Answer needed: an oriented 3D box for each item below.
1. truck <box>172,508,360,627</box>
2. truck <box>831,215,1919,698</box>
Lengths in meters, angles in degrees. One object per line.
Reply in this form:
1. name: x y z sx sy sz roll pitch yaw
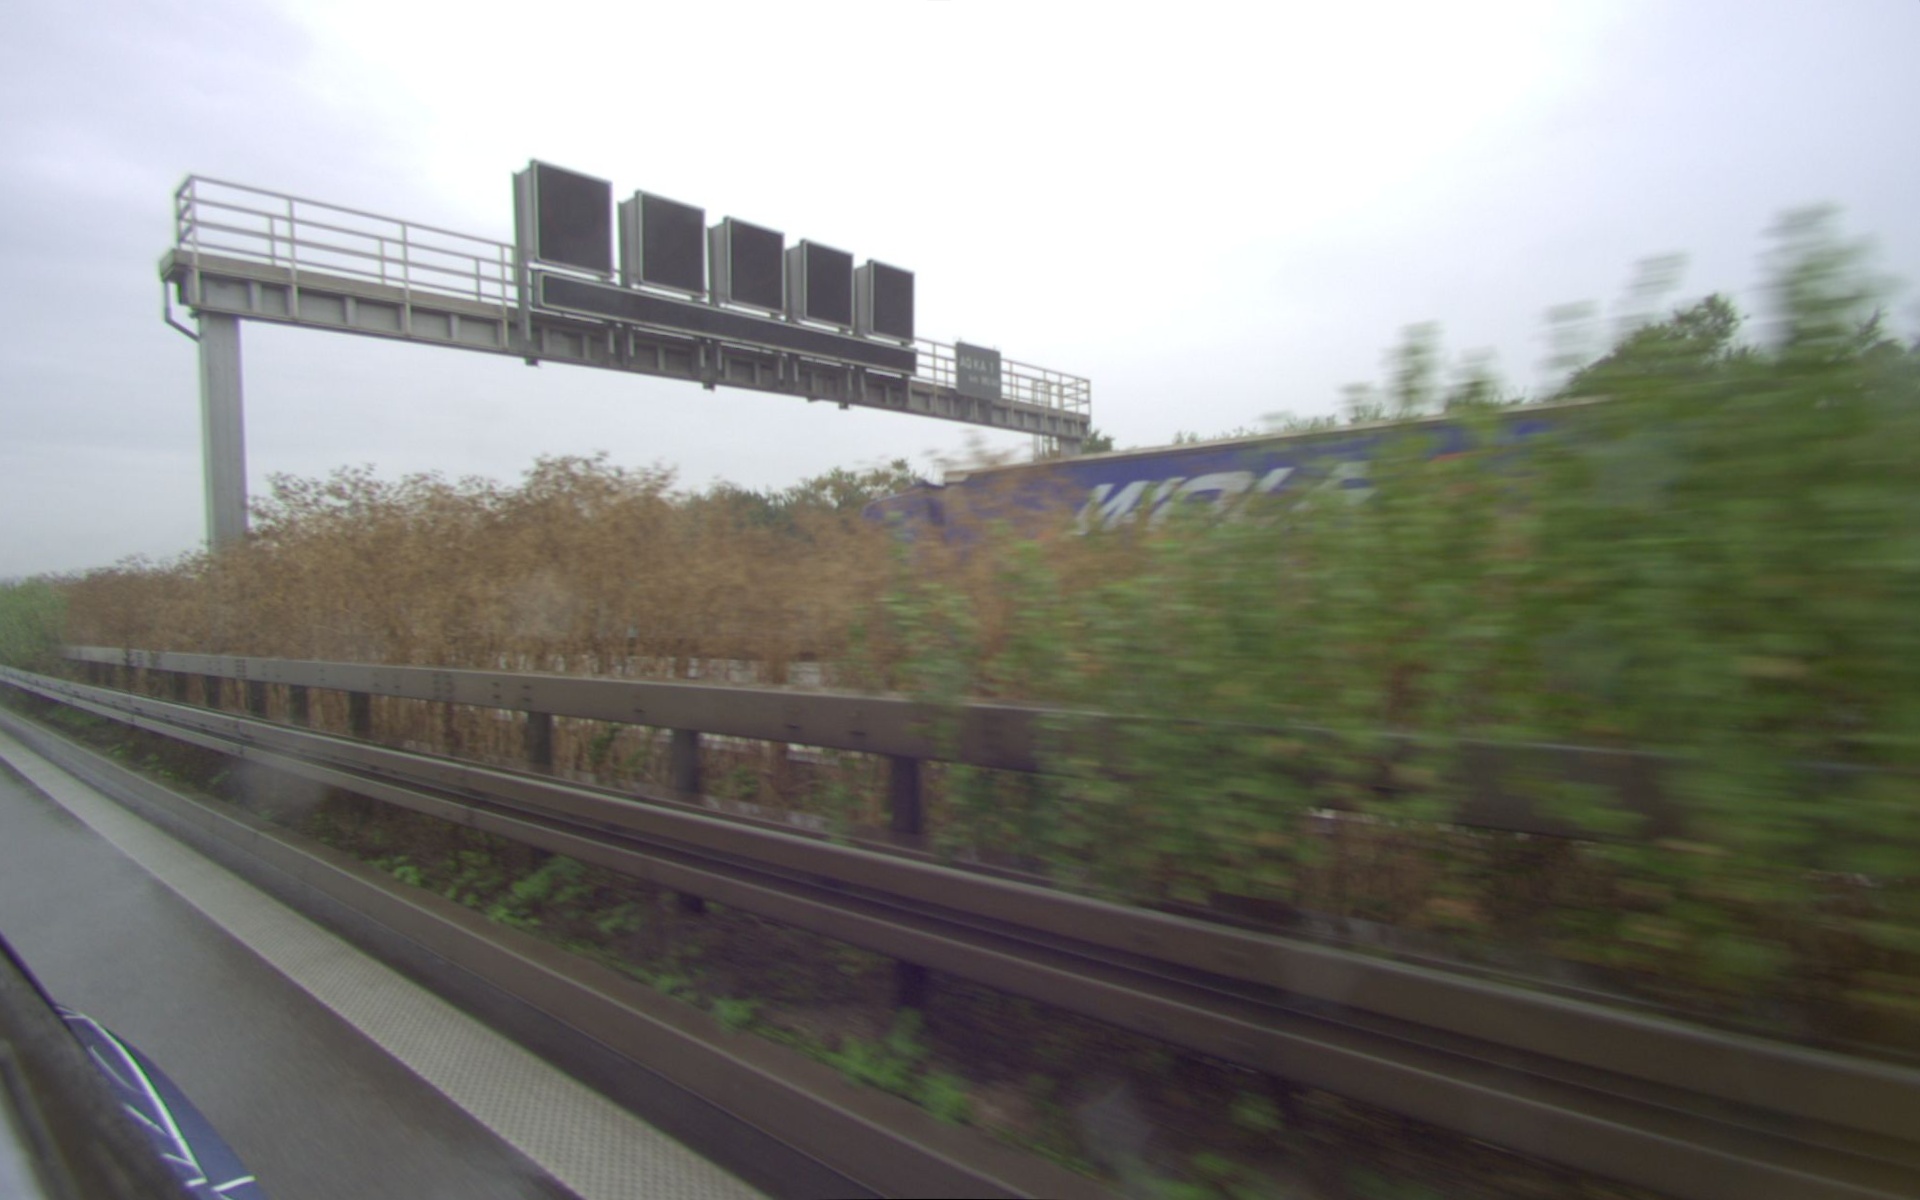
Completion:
1. truck: -36.909 -1.315 53.211 18.233 5.082 4.652 -2 -1 44
2. truck: 5.605 -1.281 17.739 18.219 5.082 4.656 -2 -1 41
